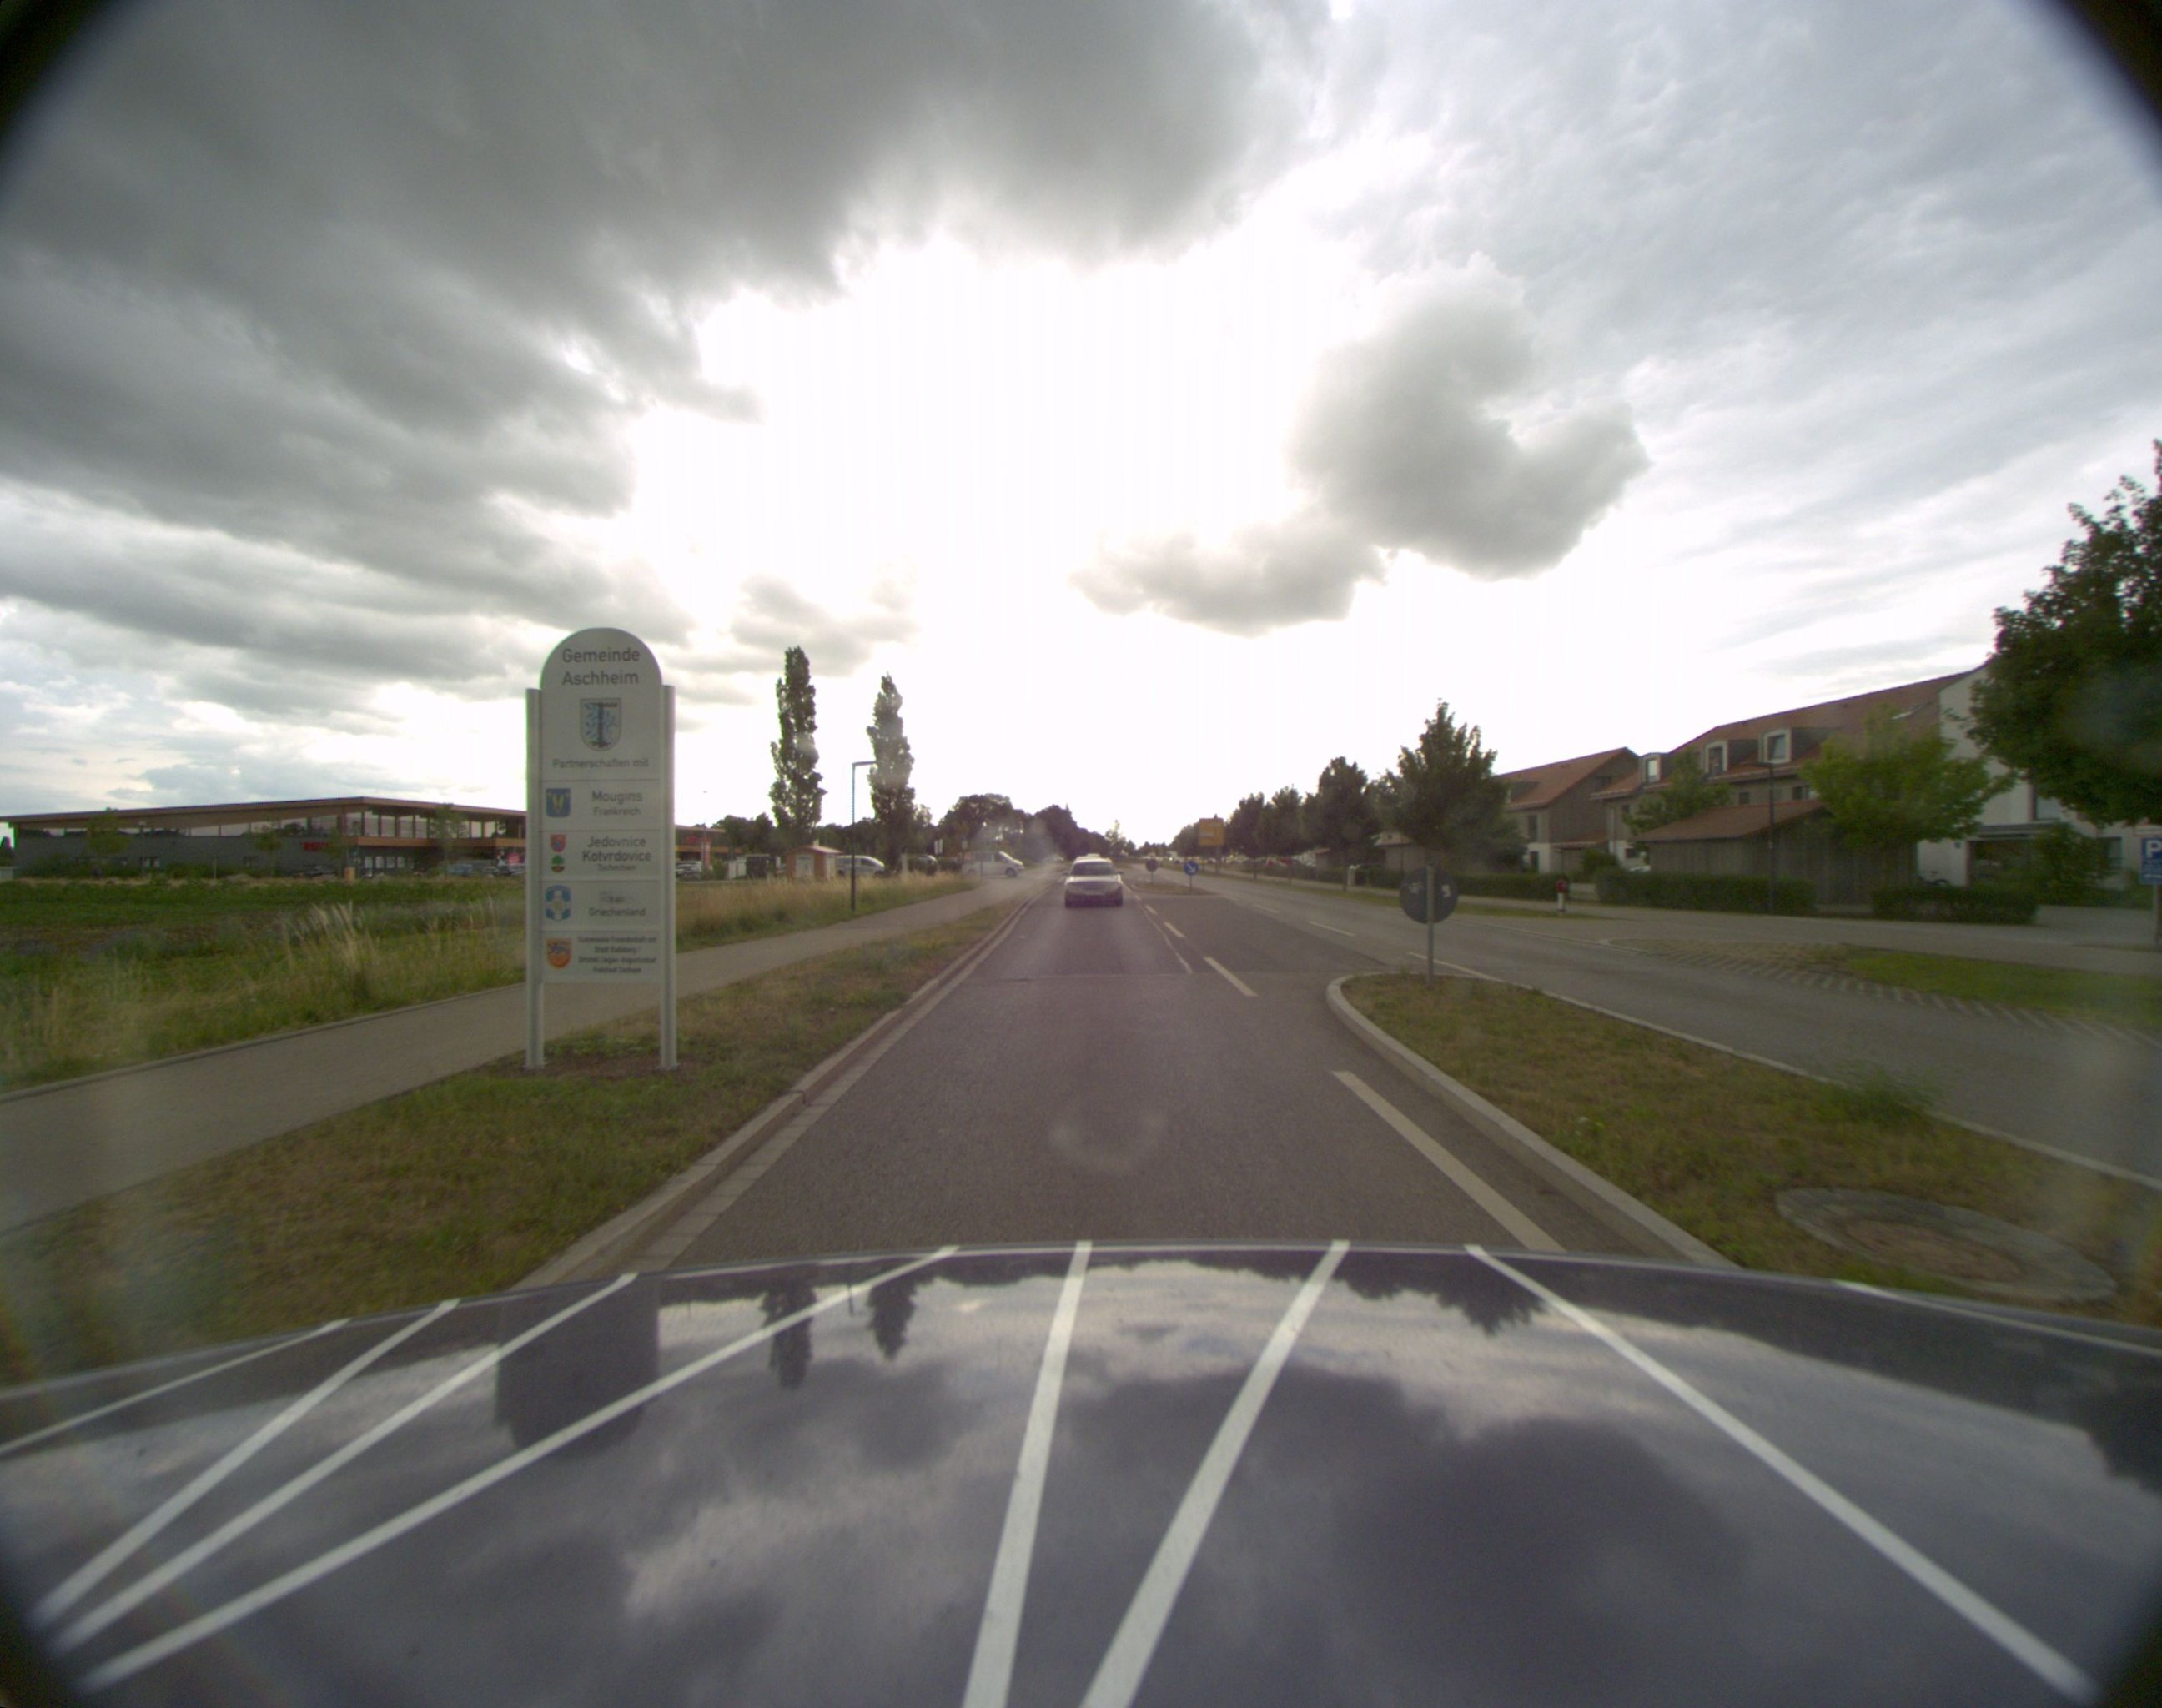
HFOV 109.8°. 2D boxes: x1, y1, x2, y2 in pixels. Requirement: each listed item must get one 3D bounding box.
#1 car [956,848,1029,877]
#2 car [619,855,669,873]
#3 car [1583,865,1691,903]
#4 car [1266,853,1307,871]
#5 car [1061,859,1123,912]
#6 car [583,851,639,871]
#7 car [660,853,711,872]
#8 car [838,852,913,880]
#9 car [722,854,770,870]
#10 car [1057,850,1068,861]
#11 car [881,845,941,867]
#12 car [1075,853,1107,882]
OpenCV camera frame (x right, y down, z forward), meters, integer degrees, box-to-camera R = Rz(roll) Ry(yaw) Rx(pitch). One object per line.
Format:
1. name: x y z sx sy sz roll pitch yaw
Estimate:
1. car: -6.859 0.628 59.340 5.313 2.002 2.562 -2 1 2
2. car: -53.212 1.191 92.621 4.858 2.002 1.998 -2 1 -7
3. car: 23.577 1.264 32.274 3.592 1.431 1.301 -2 1 1
4. car: 25.417 0.966 94.223 4.568 2.002 2.000 -2 1 5
5. car: 0.430 0.953 24.448 1.763 1.410 4.520 -2 1 3
6. car: -53.084 0.801 85.879 4.858 2.002 1.998 -2 1 -7
7. car: -46.517 1.004 89.499 4.858 2.002 1.998 -2 1 -7
8. car: -16.174 0.930 59.968 5.313 2.002 2.000 -2 1 2
9. car: -46.066 1.047 104.563 5.527 2.002 1.999 -2 1 -5
10. car: -3.710 0.322 150.005 1.998 2.002 4.000 0 0 1
11. car: -16.768 0.178 75.158 5.527 2.002 1.999 -2 1 -5
12. car: 0.589 0.743 44.476 1.763 1.495 4.691 -2 1 1
